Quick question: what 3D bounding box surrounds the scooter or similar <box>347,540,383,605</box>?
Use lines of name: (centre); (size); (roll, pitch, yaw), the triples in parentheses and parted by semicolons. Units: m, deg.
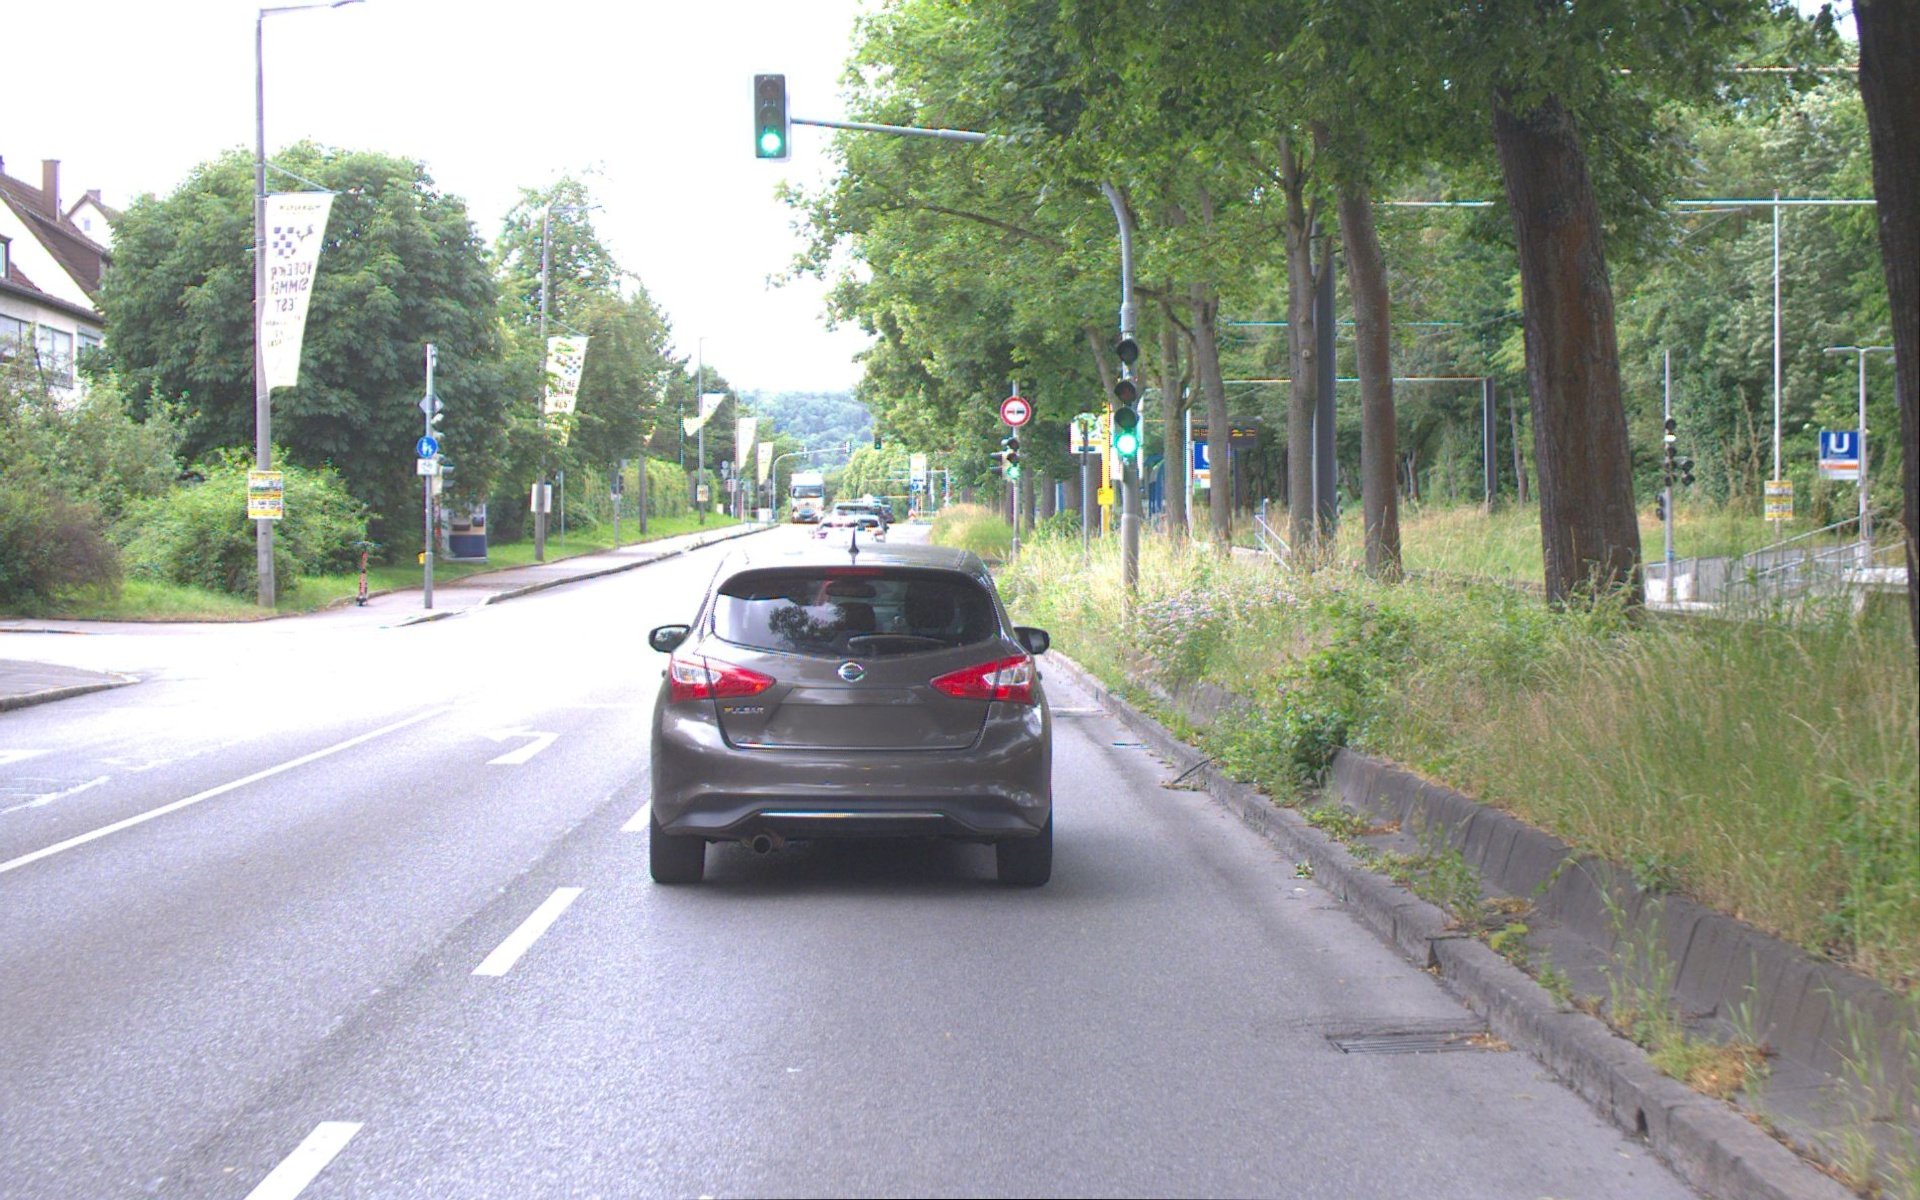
scooter or similar: (-11.765, -0.550, 67.992); (0.462, 1.254, 1.426); (0, 1, 0)

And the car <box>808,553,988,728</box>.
car: (-0.561, 0.315, 30.639); (1.502, 1.436, 3.542); (0, 1, -1)

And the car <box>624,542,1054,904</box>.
car: (-0.525, 0.482, 16.130); (1.783, 1.501, 3.696); (0, 1, -1)

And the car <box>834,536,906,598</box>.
car: (-2.180, -0.820, 83.252); (1.691, 1.436, 3.542); (0, 1, -1)

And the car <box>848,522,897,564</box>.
car: (-3.044, -1.988, 119.743); (1.691, 1.436, 3.542); (0, 1, -1)

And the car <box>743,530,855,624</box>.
car: (-2.533, -0.394, 54.683); (1.691, 1.436, 3.542); (0, 1, -1)
